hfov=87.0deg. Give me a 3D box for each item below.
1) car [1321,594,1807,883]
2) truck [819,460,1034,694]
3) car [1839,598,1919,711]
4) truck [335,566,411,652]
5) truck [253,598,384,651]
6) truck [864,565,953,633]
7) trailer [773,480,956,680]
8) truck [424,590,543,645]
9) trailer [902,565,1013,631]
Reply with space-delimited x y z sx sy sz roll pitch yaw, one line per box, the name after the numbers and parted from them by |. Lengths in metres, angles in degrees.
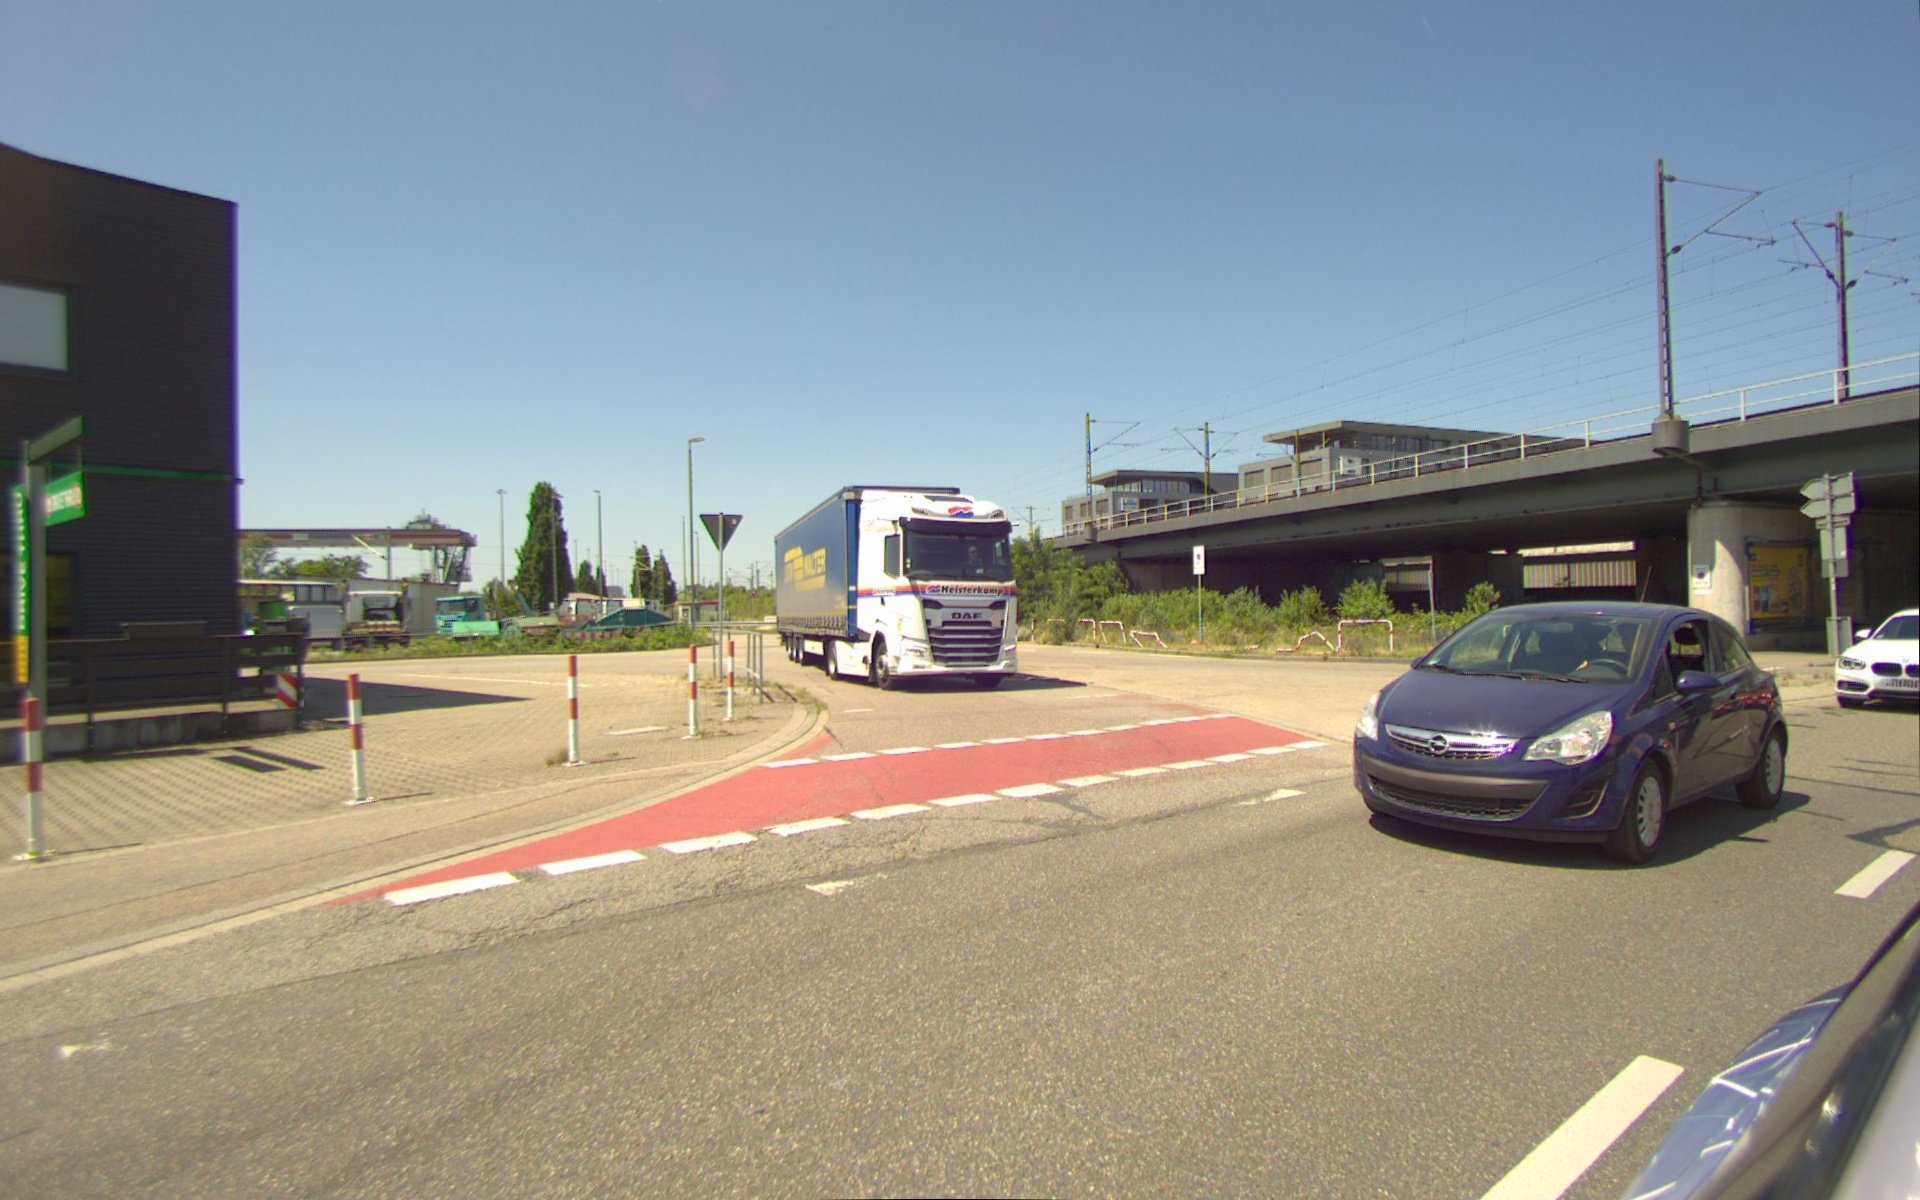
4.292 0.715 6.972 3.820 1.462 1.650 1 -1 -39 | car
-0.926 -0.431 21.095 2.522 4.153 5.772 0 0 -24 | truck
14.289 0.733 14.410 3.975 1.461 1.764 0 1 -35 | car
-25.782 0.373 44.403 2.668 3.424 7.407 0 0 -31 | truck
-36.730 1.328 58.198 2.619 2.825 6.068 0 0 21 | truck
-3.194 -0.108 64.313 2.575 4.089 6.131 0 0 34 | truck
-3.209 -0.347 27.949 2.447 4.142 13.931 0 -1 -16 | trailer
-30.923 1.035 66.049 2.765 3.411 7.517 0 0 17 | truck
0.021 -0.168 69.210 2.562 4.176 9.928 0 0 33 | trailer
